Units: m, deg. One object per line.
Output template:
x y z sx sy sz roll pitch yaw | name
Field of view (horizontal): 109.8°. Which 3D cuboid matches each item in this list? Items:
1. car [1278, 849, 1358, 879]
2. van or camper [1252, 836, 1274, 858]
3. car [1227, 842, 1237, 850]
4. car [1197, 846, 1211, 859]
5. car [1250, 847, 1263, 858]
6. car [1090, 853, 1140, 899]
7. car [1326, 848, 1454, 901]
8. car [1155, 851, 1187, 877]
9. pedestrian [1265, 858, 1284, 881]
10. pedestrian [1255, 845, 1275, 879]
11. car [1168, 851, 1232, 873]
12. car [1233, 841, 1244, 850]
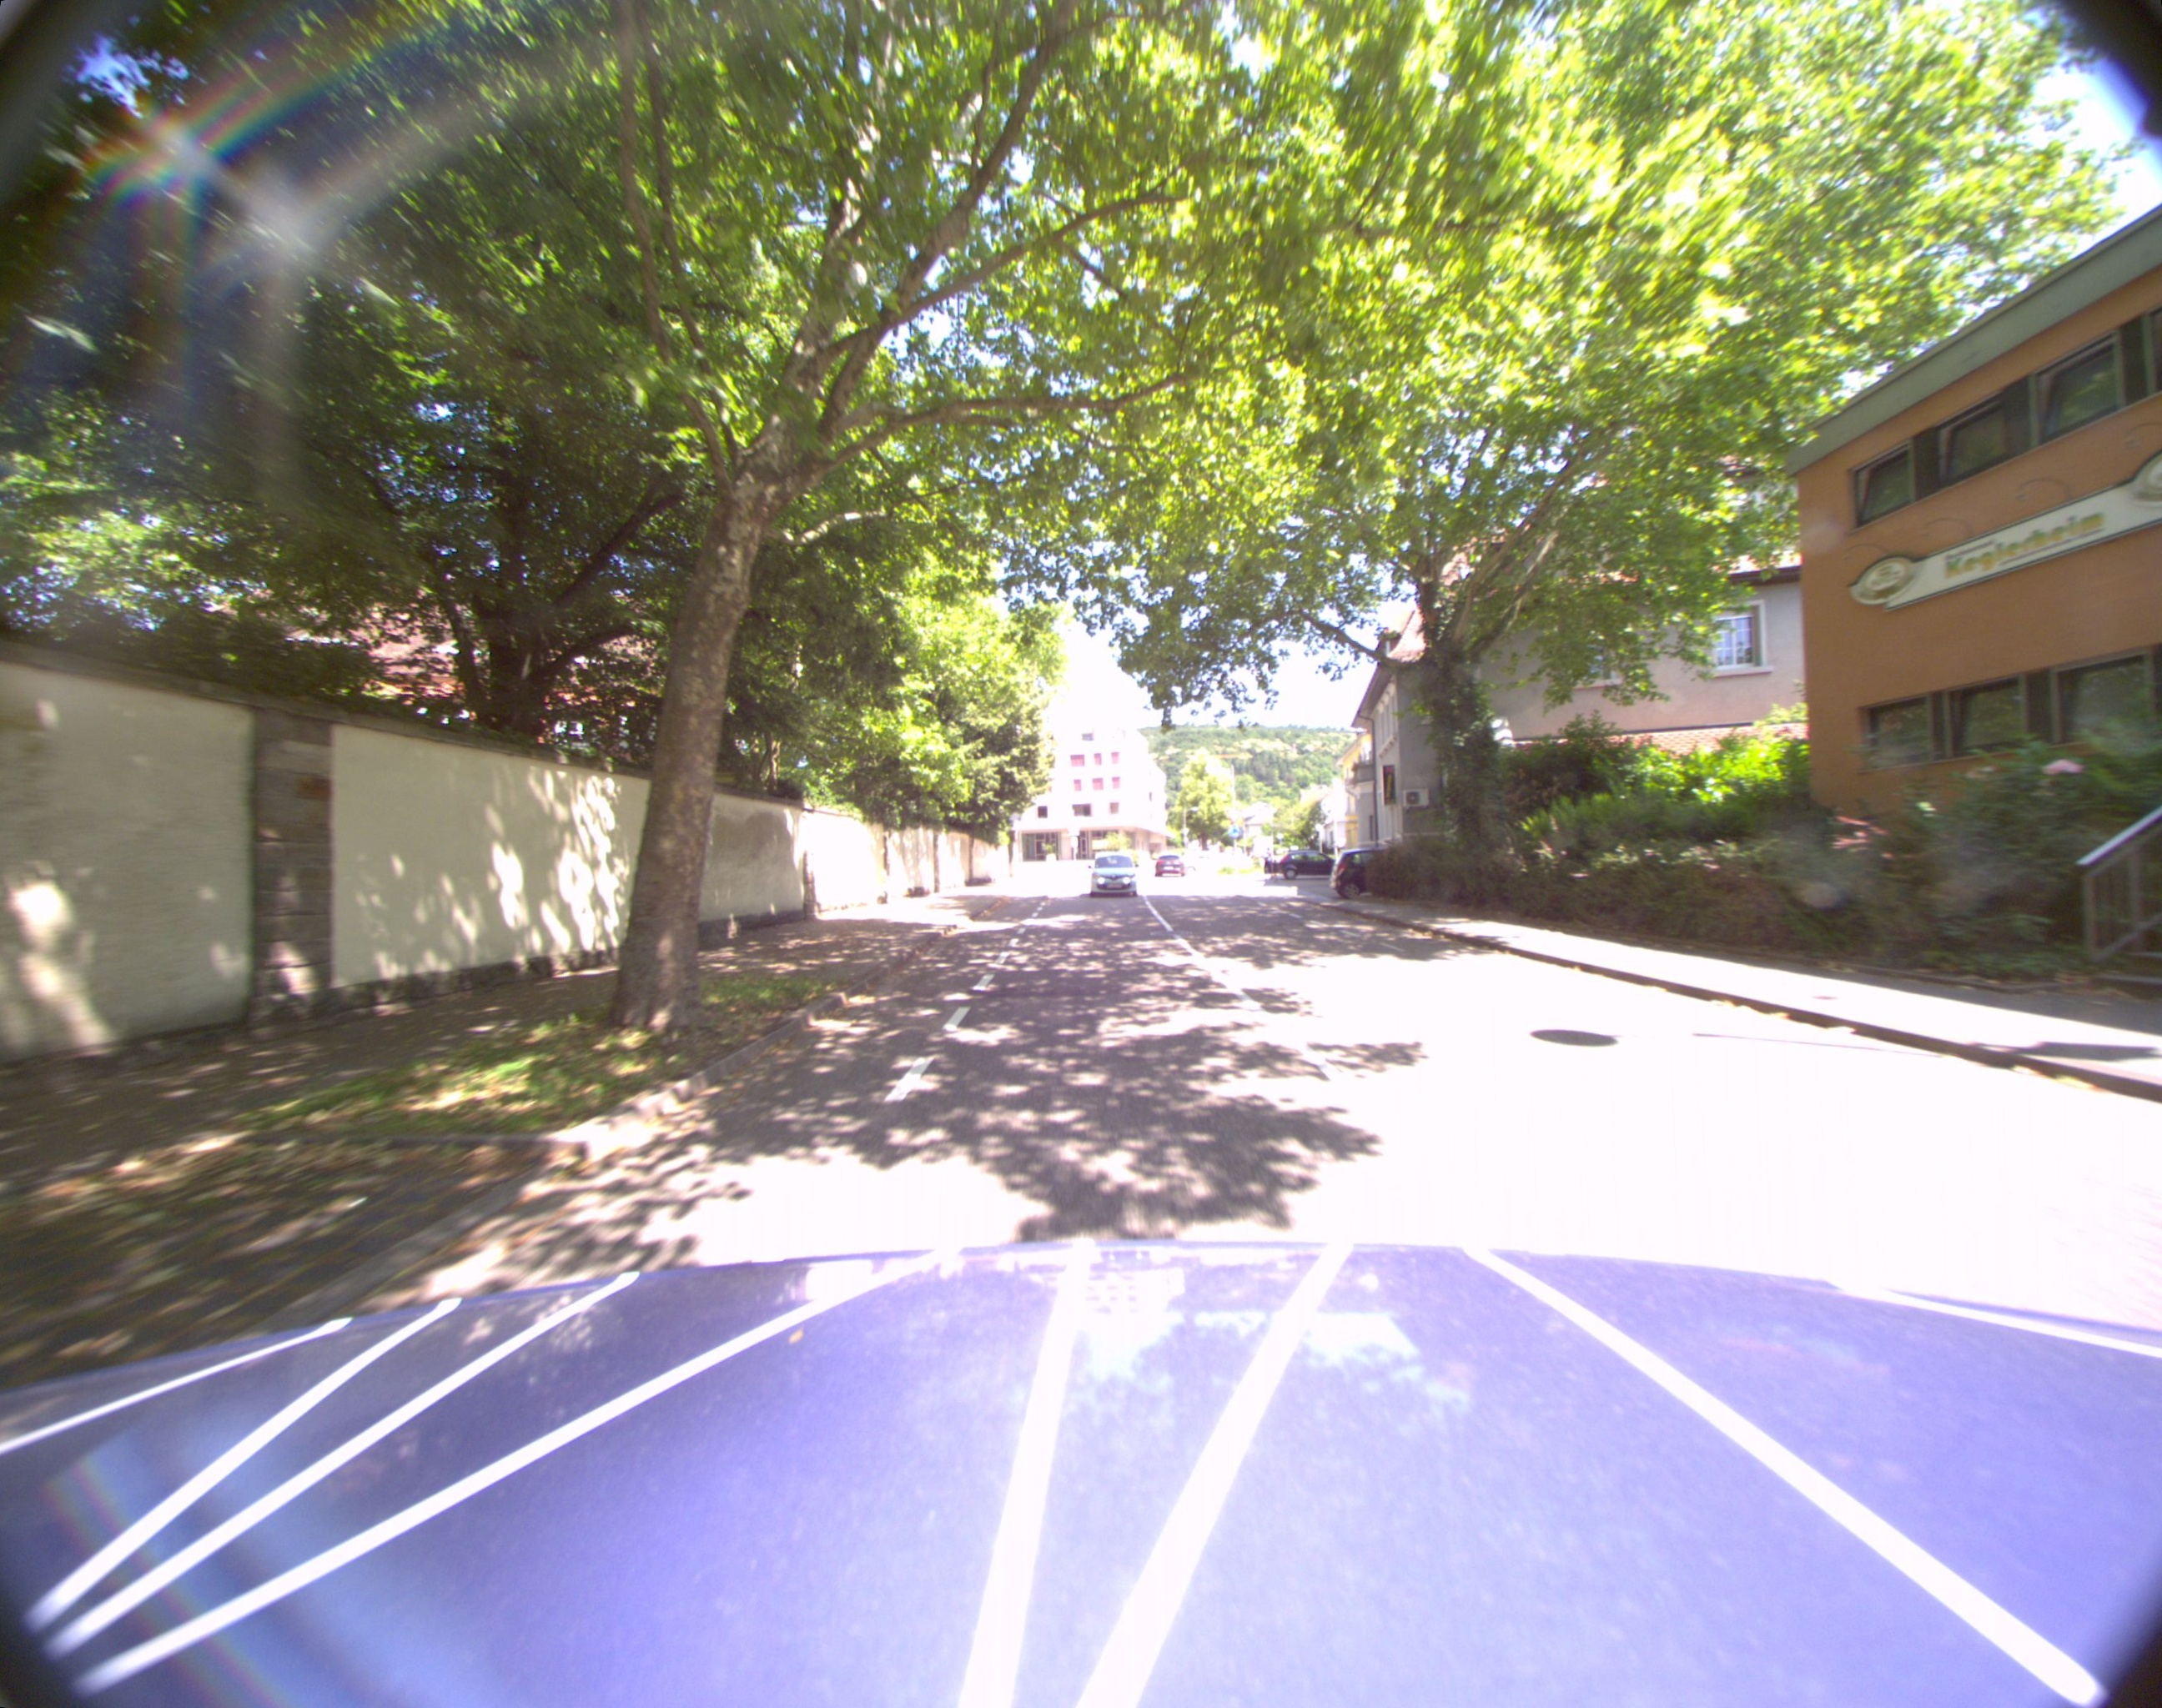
12.161 0.491 39.174 3.787 1.452 1.725 -1 1 10 | car
23.467 -0.948 98.192 2.271 2.623 5.890 -4 0 11 | van or camper
32.435 -1.684 163.536 1.997 1.657 4.002 -1 1 9 | car
15.450 -0.196 95.340 1.754 1.496 3.995 -1 0 10 | car
25.638 -0.254 111.252 1.753 1.496 3.996 -1 0 12 | car
1.181 0.723 27.150 1.659 1.516 4.162 -1 0 2 | car
9.500 0.612 23.594 3.387 1.537 1.725 -1 1 10 | car
5.419 0.578 45.650 1.772 1.418 4.394 -1 0 7 | car
9.433 0.741 37.087 0.755 1.115 0.897 -1 1 7 | pedestrian
9.653 0.408 39.792 0.873 1.732 1.113 -1 1 7 | pedestrian
7.950 0.525 51.074 3.997 1.443 1.608 -1 1 -2 | car
31.630 -1.773 152.612 1.997 1.657 4.002 -1 1 9 | car
